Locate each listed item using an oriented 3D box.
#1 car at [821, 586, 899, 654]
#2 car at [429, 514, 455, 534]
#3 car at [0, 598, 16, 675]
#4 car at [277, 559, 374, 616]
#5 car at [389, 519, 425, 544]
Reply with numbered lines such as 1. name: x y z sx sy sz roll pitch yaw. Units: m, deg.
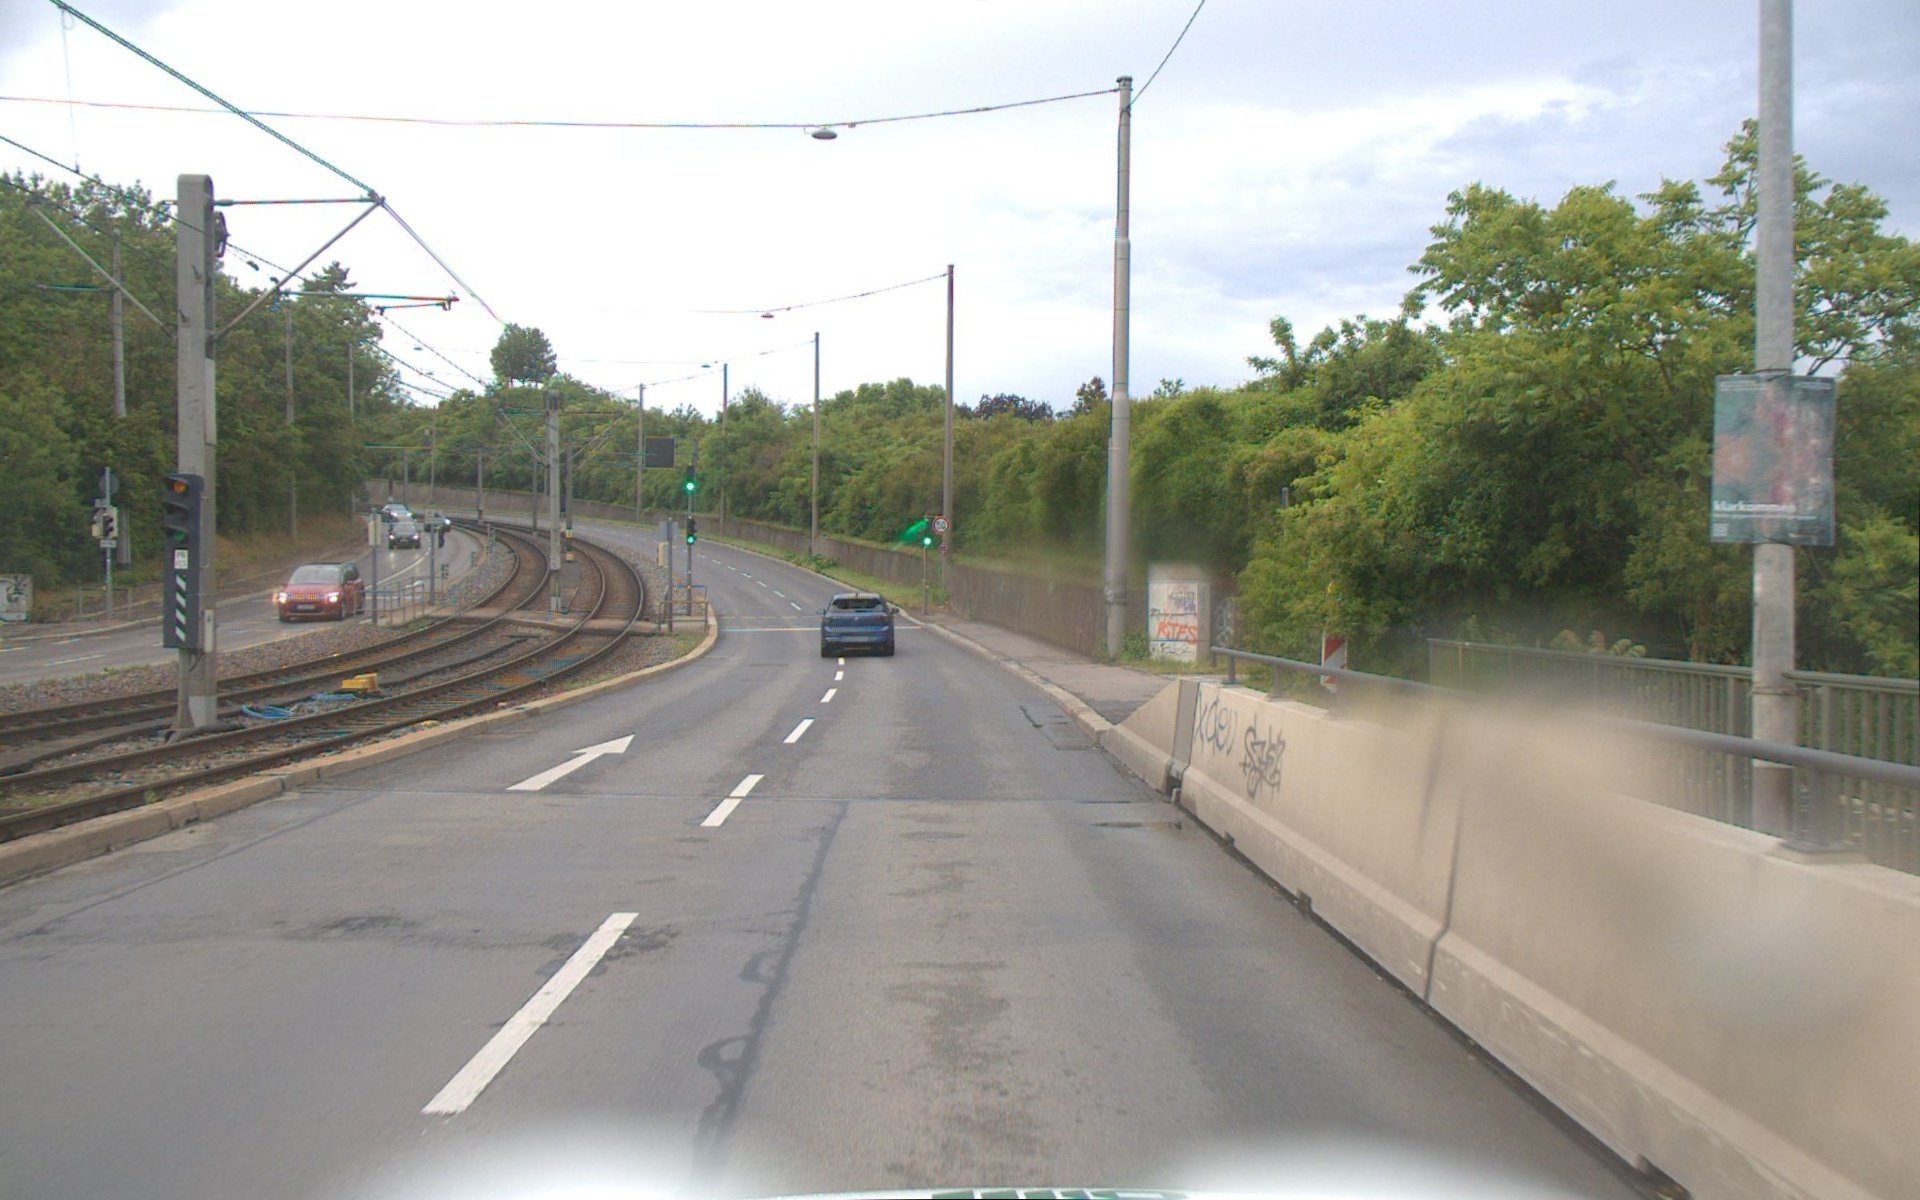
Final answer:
1. car: -2.370 0.466 39.971 1.728 1.527 3.998 1 0 -2
2. car: -39.643 -5.829 126.508 1.610 1.408 3.871 -3 4 -21
3. car: -19.943 0.729 31.453 1.786 1.541 4.523 0 0 -6
4. car: -19.161 -0.425 50.123 1.814 1.625 4.722 -1 2 -10
5. car: -33.635 -4.199 100.658 1.687 1.483 4.261 -1 3 -14
